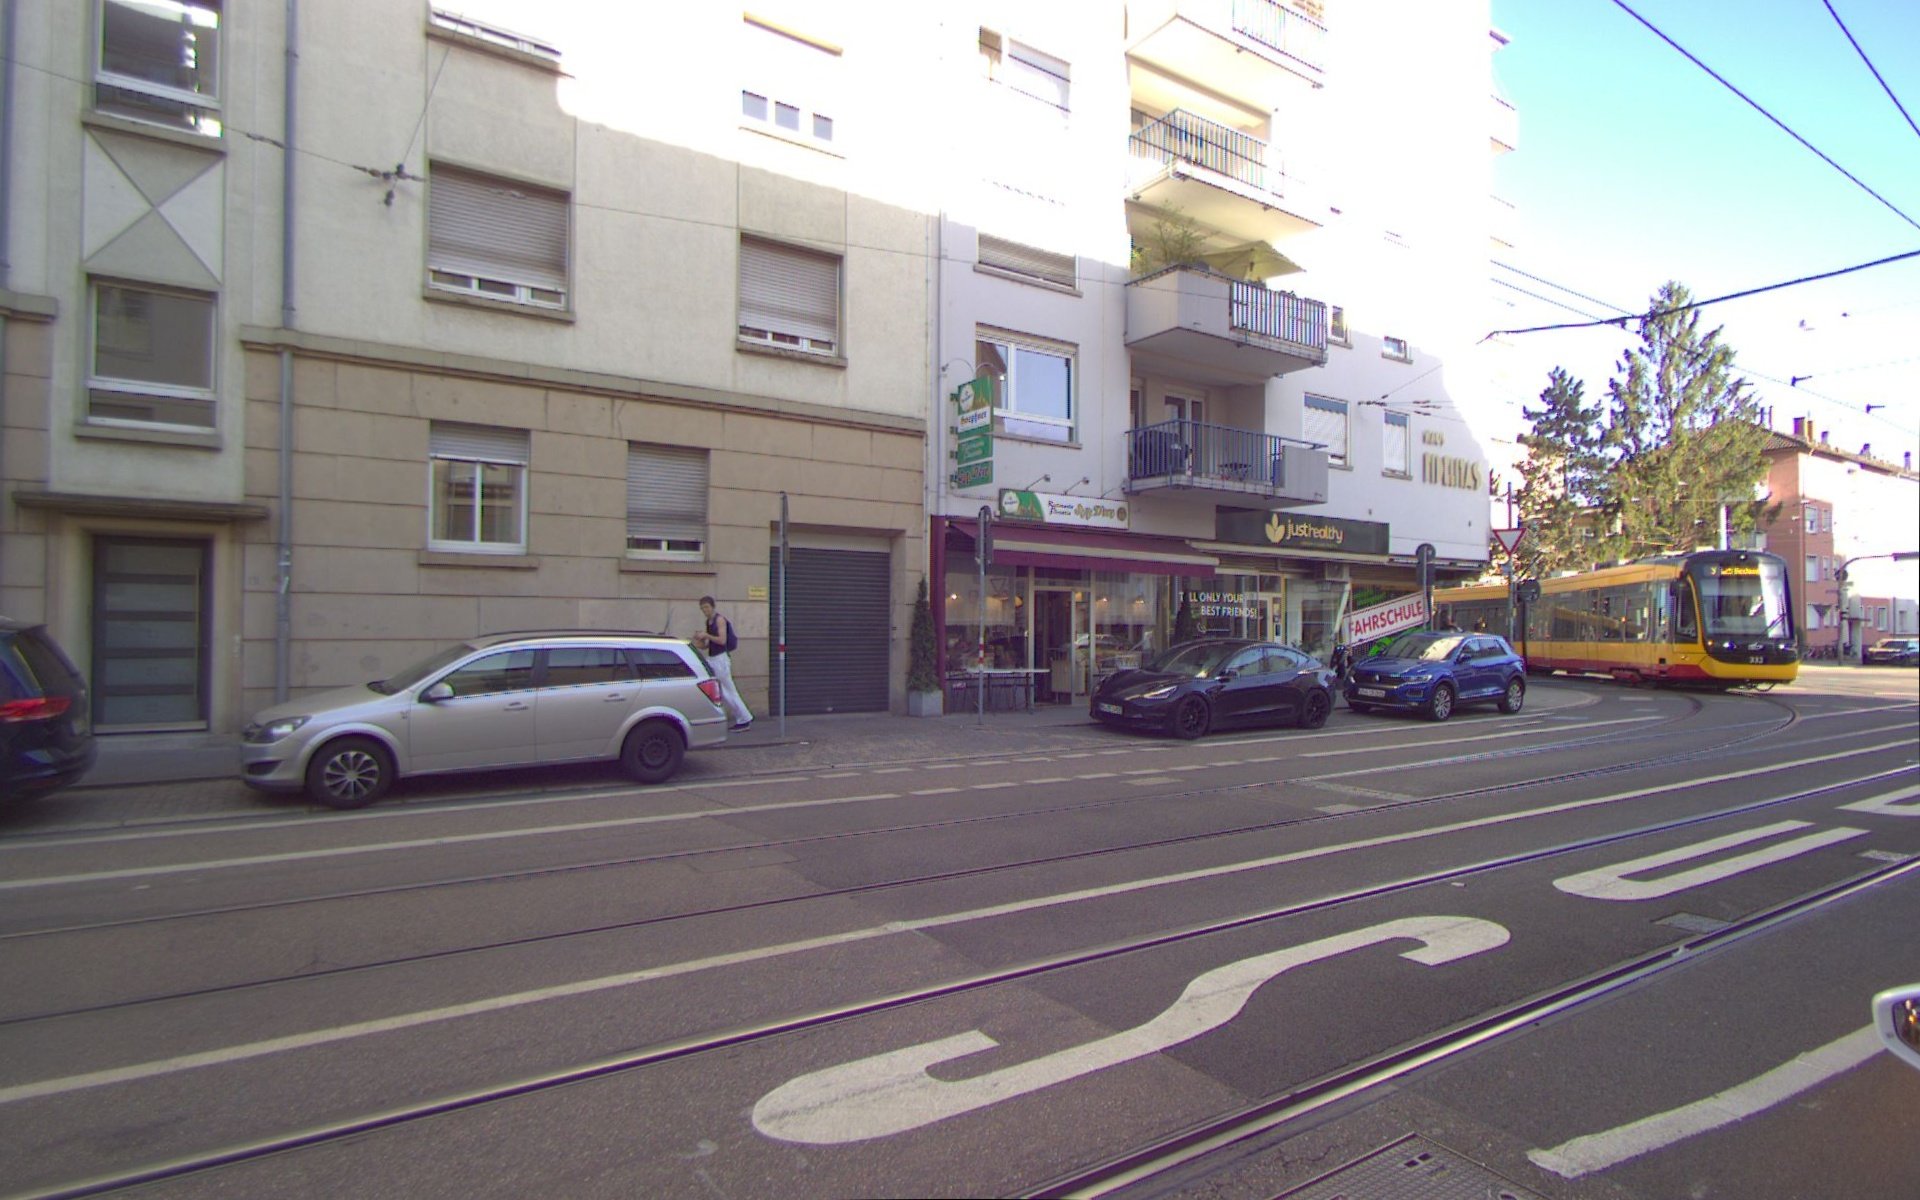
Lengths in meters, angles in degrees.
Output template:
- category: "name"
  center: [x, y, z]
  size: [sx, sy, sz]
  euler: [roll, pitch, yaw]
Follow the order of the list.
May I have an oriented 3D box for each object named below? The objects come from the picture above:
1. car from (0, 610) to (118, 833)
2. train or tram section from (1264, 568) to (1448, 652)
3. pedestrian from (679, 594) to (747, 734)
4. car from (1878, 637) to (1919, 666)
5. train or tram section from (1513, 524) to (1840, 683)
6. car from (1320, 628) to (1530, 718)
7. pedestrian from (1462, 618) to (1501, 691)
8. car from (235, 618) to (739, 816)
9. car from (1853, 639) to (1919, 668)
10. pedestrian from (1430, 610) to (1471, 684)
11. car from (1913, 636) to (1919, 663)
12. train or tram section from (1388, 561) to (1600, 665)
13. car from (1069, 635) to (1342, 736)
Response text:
- category: "car"
  center: [-9.005, 0.867, 7.260]
  size: [4.249, 1.606, 1.893]
  euler: [2, 0, -35]
- category: "train or tram section"
  center: [19.909, 0.474, 52.149]
  size: [2.701, 3.680, 14.253]
  euler: [2, 0, -5]
- category: "pedestrian"
  center: [-3.388, 0.857, 13.764]
  size: [0.725, 1.857, 0.595]
  euler: [2, 0, -30]
- category: "car"
  center: [53.480, 2.892, 56.330]
  size: [4.250, 1.518, 1.806]
  euler: [2, 0, -30]
- category: "train or tram section"
  center: [19.942, 0.307, 29.432]
  size: [3.010, 3.641, 12.640]
  euler: [-1, -2, 13]
- category: "car"
  center: [8.896, 1.312, 19.134]
  size: [4.030, 1.552, 1.858]
  euler: [1, -2, -34]
- category: "pedestrian"
  center: [13.337, 1.388, 25.699]
  size: [0.691, 1.829, 0.568]
  euler: [2, 0, -30]
- category: "car"
  center: [-4.703, 1.039, 10.323]
  size: [4.319, 1.580, 1.981]
  euler: [2, 0, -34]
- category: "car"
  center: [49.602, 2.832, 53.608]
  size: [3.949, 1.440, 1.784]
  euler: [2, 0, -31]
- category: "pedestrian"
  center: [13.957, 1.328, 28.583]
  size: [0.688, 2.040, 0.764]
  euler: [2, 0, -35]
- category: "car"
  center: [58.314, 2.965, 59.458]
  size: [4.103, 1.531, 1.778]
  euler: [2, 0, -31]
- category: "train or tram section"
  center: [21.046, 0.471, 40.458]
  size: [2.782, 3.679, 9.073]
  euler: [1, 0, -7]
- category: "car"
  center: [4.000, 1.277, 16.104]
  size: [4.382, 1.405, 1.810]
  euler: [1, -2, -34]
